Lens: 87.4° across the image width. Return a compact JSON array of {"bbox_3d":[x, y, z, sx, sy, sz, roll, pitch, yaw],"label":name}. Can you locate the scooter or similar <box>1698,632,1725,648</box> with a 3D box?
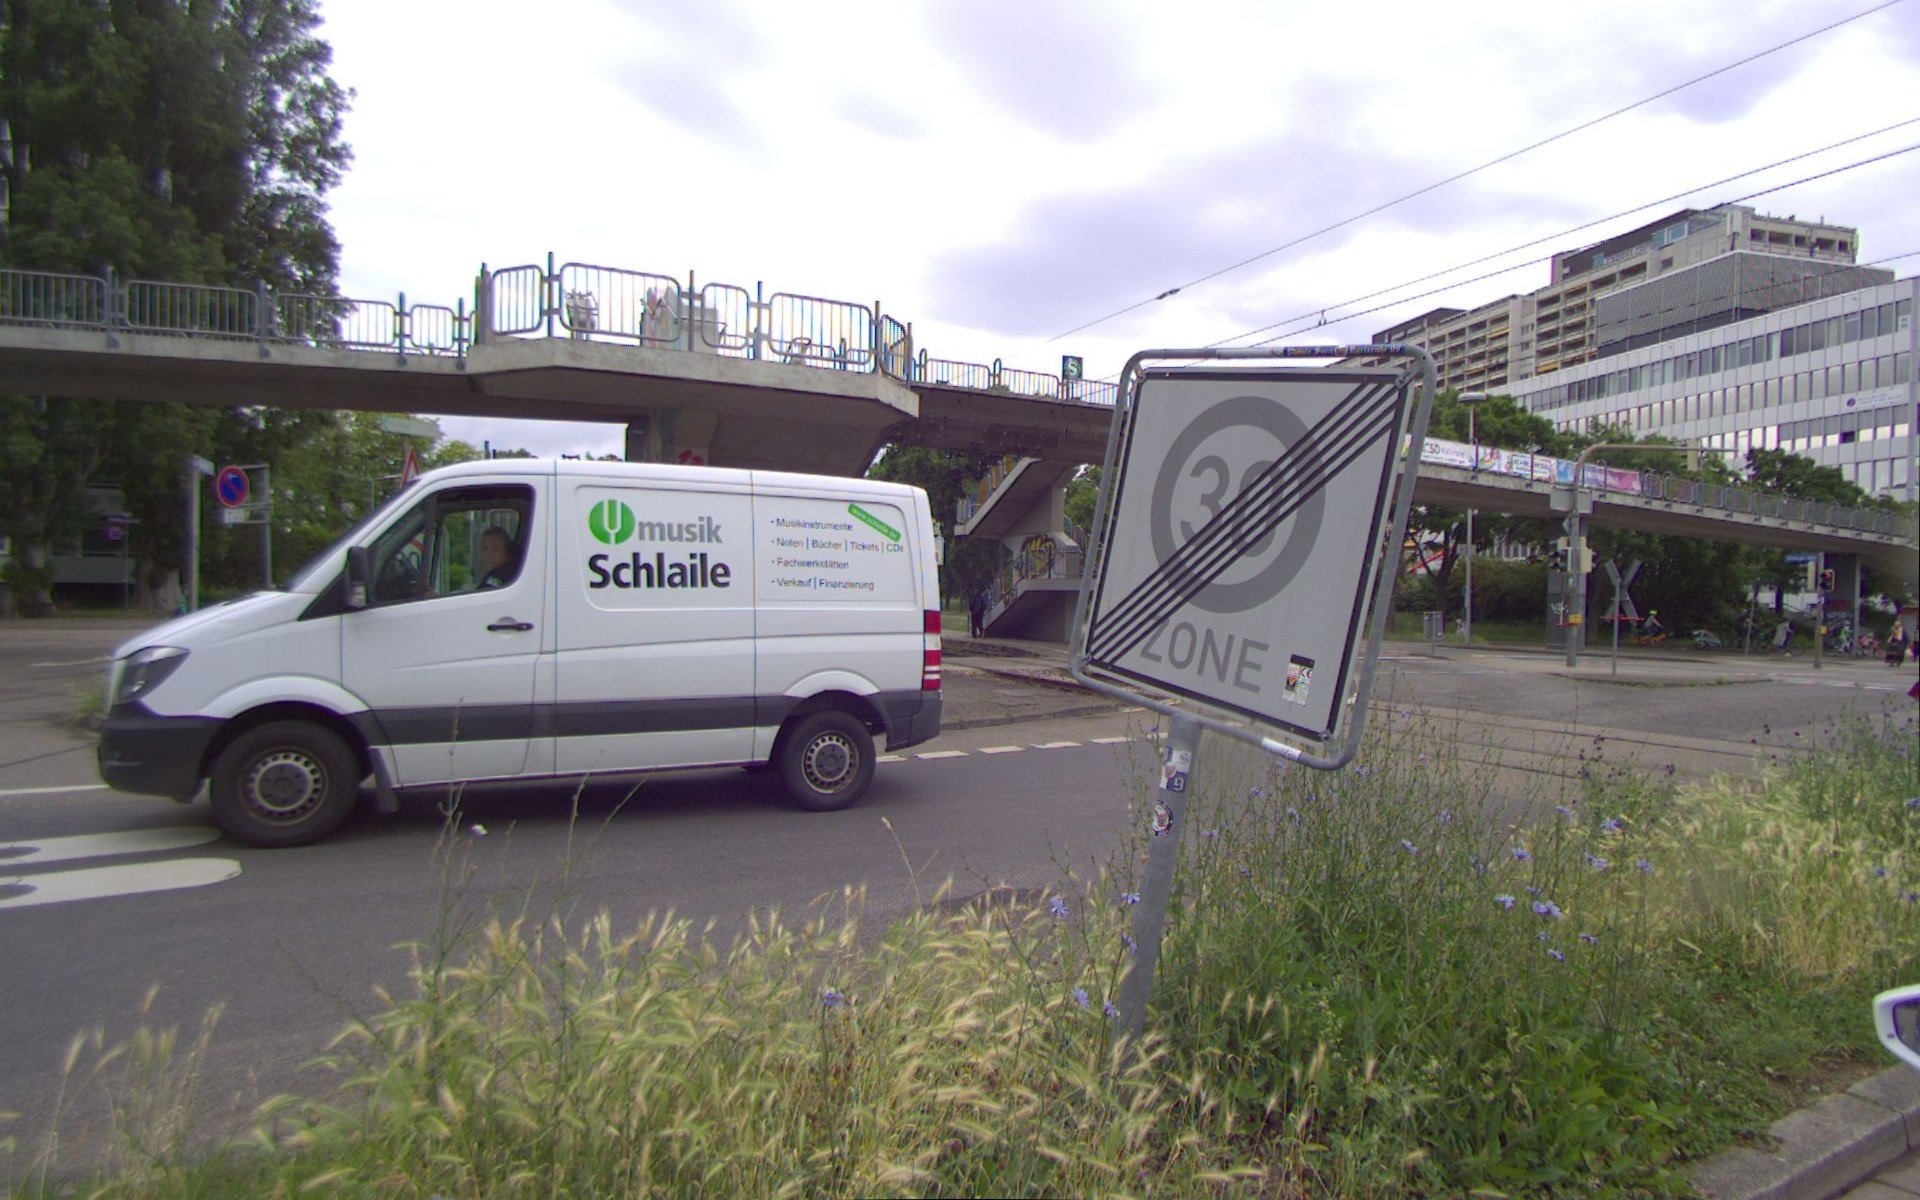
[{"bbox_3d":[36.238,1.947,48.444,0.978,0.724,0.406,1,0,26],"label":"scooter or similar"}]

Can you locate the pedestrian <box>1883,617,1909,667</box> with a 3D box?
[{"bbox_3d":[32.739,1.445,35.126,0.402,1.714,0.612,1,1,-43],"label":"pedestrian"}]

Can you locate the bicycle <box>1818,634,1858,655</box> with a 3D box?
[{"bbox_3d":[39.965,2.018,45.719,2.493,0.938,0.628,1,1,-31],"label":"bicycle"}]

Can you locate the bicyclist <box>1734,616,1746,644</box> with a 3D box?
[{"bbox_3d":[37.279,1.410,48.016,0.376,1.321,0.278,1,1,24],"label":"bicyclist"}]

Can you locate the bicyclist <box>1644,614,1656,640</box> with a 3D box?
[{"bbox_3d":[34.066,1.344,49.587,0.401,1.270,0.276,2,1,41],"label":"bicyclist"}]

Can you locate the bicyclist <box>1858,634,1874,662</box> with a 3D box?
[{"bbox_3d":[39.507,2.080,43.800,0.372,1.197,0.403,0,1,-28],"label":"bicyclist"}]

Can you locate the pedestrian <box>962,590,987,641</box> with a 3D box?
[{"bbox_3d":[0.486,0.510,33.641,0.593,1.664,0.659,1,1,-25],"label":"pedestrian"}]

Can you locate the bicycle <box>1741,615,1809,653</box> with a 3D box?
[{"bbox_3d":[37.150,1.553,45.788,2.319,1.647,0.528,1,1,20],"label":"bicycle"}]

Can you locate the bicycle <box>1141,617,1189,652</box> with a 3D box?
[{"bbox_3d":[5.827,0.967,28.669,0.368,0.934,2.029,1,0,-18],"label":"bicycle"}]

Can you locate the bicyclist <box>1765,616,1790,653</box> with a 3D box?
[{"bbox_3d":[37.255,1.555,45.786,0.735,1.647,0.528,1,1,19],"label":"bicyclist"}]

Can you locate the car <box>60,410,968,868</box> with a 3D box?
[{"bbox_3d":[-2.712,0.243,7.209,5.140,2.323,2.126,1,0,-27],"label":"car"}]

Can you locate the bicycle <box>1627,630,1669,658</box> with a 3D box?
[{"bbox_3d":[34.014,2.157,49.672,1.684,1.321,0.387,1,1,40],"label":"bicycle"}]

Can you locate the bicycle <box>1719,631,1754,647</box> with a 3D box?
[{"bbox_3d":[37.153,1.880,48.070,1.273,0.701,0.290,1,1,25],"label":"bicycle"}]

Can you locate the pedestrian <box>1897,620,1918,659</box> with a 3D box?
[{"bbox_3d":[39.522,1.633,41.908,0.572,1.600,0.777,2,0,42],"label":"pedestrian"}]

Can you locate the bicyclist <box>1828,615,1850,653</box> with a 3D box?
[{"bbox_3d":[40.063,1.547,45.771,0.525,1.666,0.562,2,0,-29],"label":"bicyclist"}]
